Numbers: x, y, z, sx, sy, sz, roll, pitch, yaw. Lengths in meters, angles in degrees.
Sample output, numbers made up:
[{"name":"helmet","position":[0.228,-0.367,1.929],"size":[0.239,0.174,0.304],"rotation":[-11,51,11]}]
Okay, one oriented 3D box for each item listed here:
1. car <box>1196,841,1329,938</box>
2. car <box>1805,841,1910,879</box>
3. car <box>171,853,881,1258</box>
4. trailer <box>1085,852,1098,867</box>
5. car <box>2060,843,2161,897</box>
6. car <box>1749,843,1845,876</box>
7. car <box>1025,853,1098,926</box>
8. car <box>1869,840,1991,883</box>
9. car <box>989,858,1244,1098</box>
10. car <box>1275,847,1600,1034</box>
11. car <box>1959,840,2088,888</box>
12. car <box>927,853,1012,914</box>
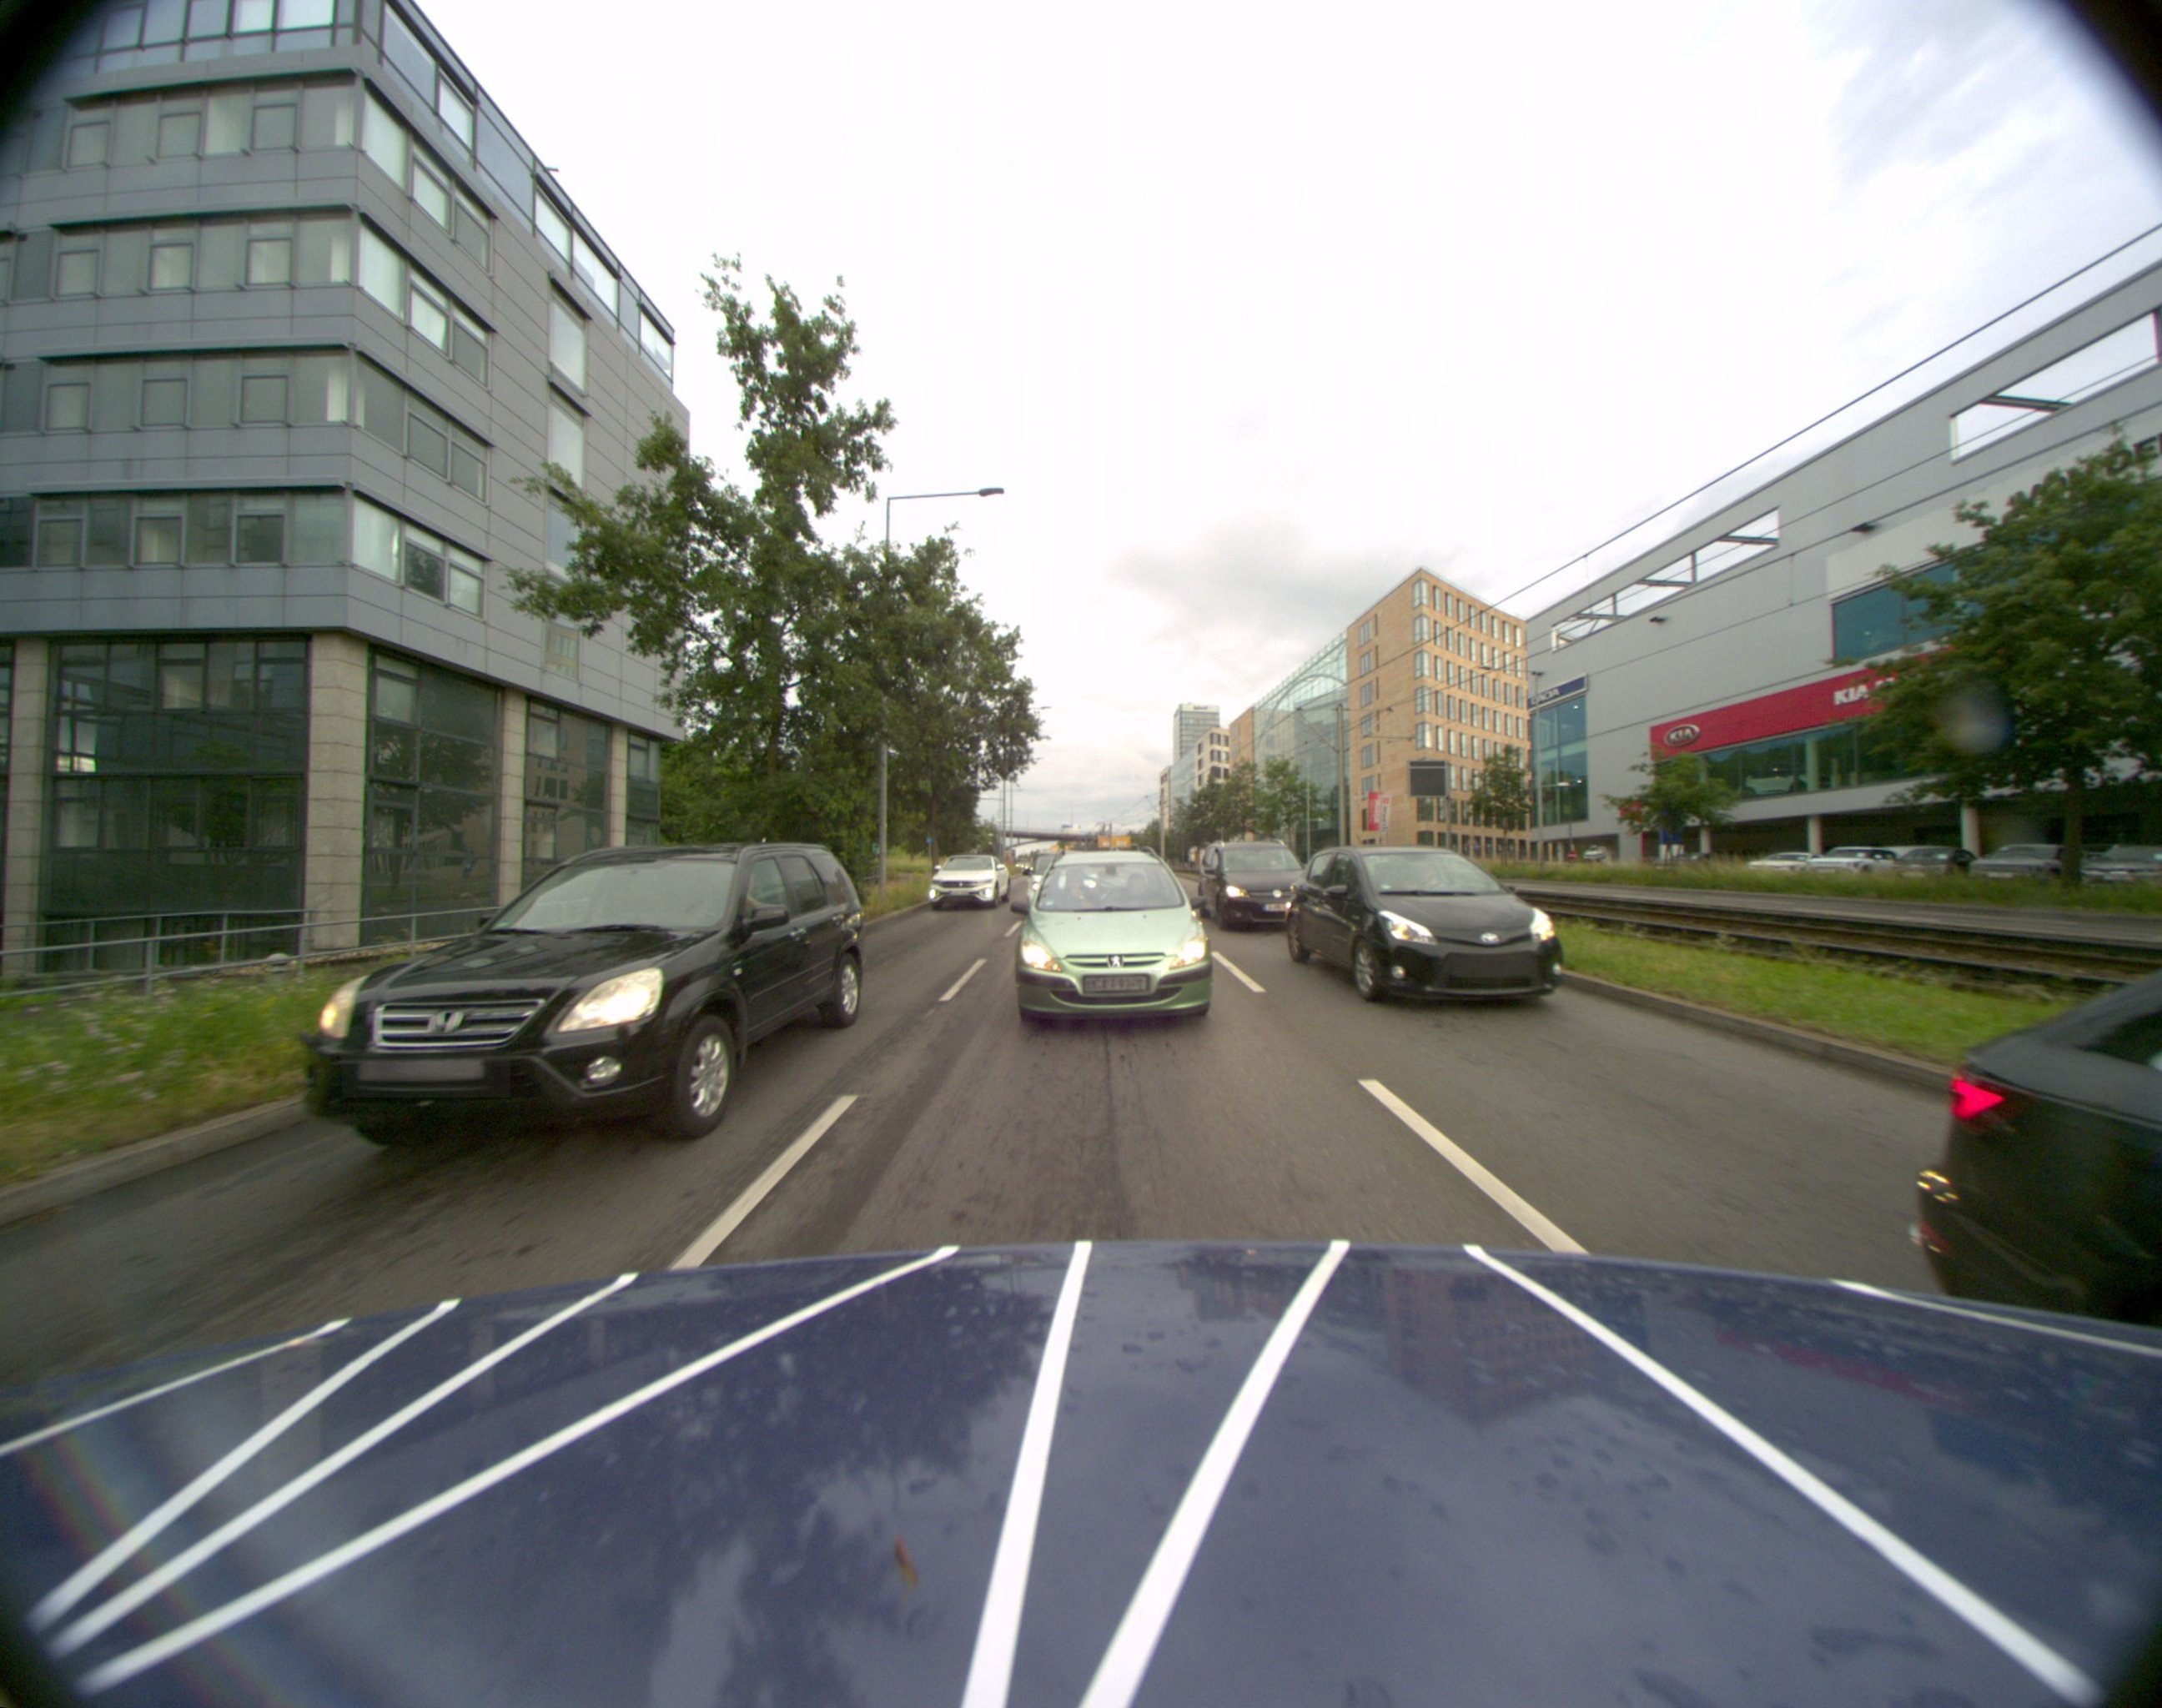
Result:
[{"name":"car","position":[3.358,0.573,14.870],"size":[1.786,1.597,4.317],"rotation":[-1,1,3]},{"name":"car","position":[31.823,0.233,31.140],"size":[3.668,1.287,1.696],"rotation":[-4,1,-22]},{"name":"car","position":[-2.918,0.857,5.388],"size":[1.759,1.649,4.337],"rotation":[-1,1,1]},{"name":"trailer","position":[3.236,1.698,246.002],"size":[3.143,4.304,13.276],"rotation":[2,0,-3]},{"name":"car","position":[31.988,0.453,22.991],"size":[3.527,1.344,1.696],"rotation":[-4,1,-16]},{"name":"car","position":[31.803,0.222,33.745],"size":[3.668,1.181,1.696],"rotation":[-4,1,-22]},{"name":"car","position":[-0.481,0.746,17.794],"size":[1.518,1.495,3.167],"rotation":[-1,1,-2]},{"name":"car","position":[31.660,0.270,28.360],"size":[3.528,1.344,1.696],"rotation":[-4,1,-17]},{"name":"car","position":[0.230,0.857,7.363],"size":[1.704,1.523,4.370],"rotation":[-1,1,-1]},{"name":"car","position":[3.473,0.705,8.265],"size":[1.704,1.523,3.826],"rotation":[-1,1,-1]},{"name":"car","position":[32.068,0.317,25.862],"size":[3.528,1.344,1.696],"rotation":[-4,1,-20]},{"name":"car","position":[-3.075,0.771,21.730],"size":[1.828,1.495,3.766],"rotation":[-1,1,0]}]
